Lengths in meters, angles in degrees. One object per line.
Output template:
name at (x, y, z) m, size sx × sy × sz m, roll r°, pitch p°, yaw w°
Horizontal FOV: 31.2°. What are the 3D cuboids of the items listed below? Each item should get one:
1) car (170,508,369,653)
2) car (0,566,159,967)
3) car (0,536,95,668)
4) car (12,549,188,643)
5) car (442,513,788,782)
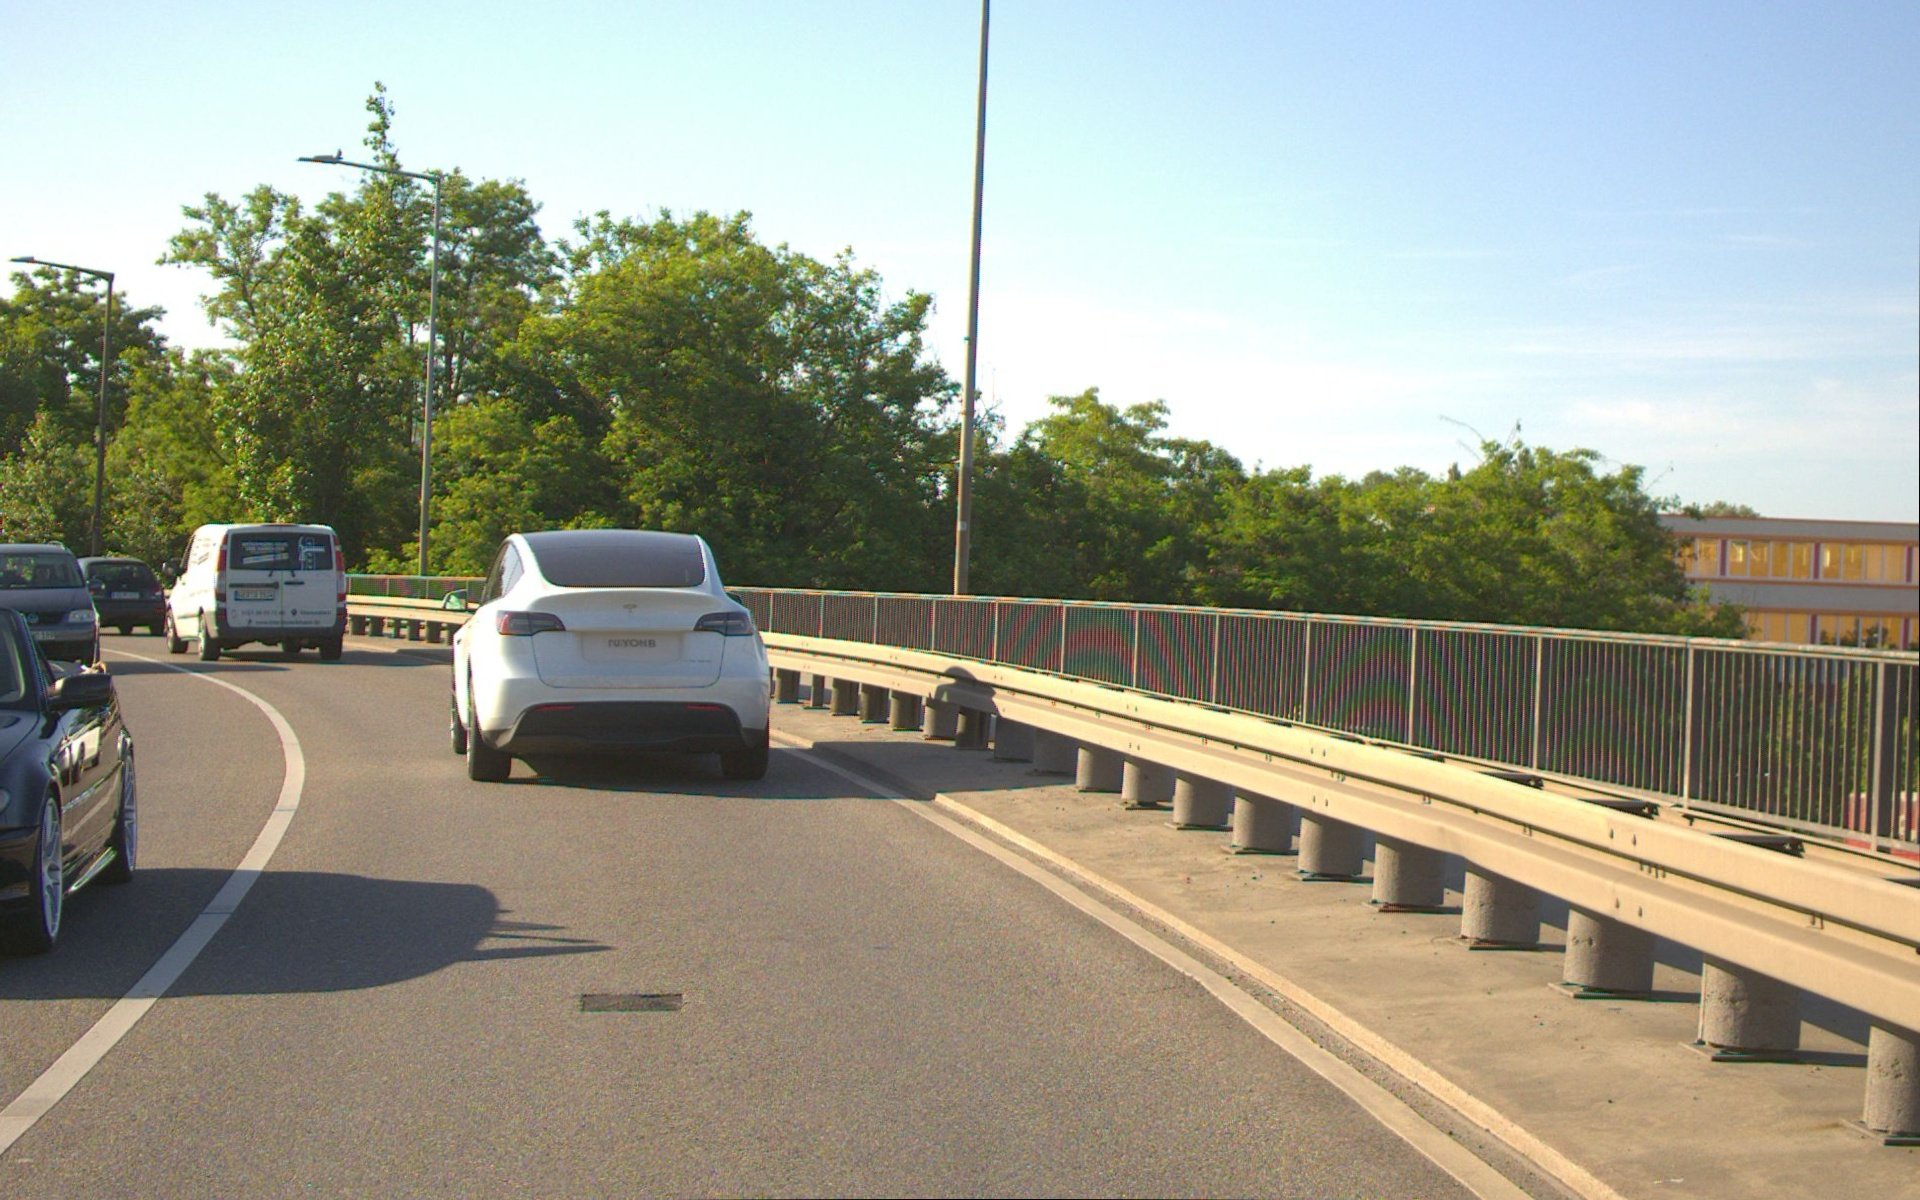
car at (-9.724, -0.308, 48.184) m, size 2.004 × 1.934 × 4.469 m, roll 0°, pitch 1°, yaw -21°
car at (-4.336, 0.555, 13.836) m, size 1.744 × 1.350 × 4.183 m, roll 0°, pitch 1°, yaw -7°
car at (-12.380, -0.013, 44.364) m, size 1.848 × 1.618 × 4.103 m, roll 0°, pitch 1°, yaw -21°
car at (-15.707, -0.078, 62.694) m, size 1.969 × 1.632 × 4.000 m, roll -1°, pitch 1°, yaw -32°
car at (-2.415, 0.277, 23.150) m, size 1.985 × 1.632 × 4.064 m, roll 1°, pitch 0°, yaw -10°
